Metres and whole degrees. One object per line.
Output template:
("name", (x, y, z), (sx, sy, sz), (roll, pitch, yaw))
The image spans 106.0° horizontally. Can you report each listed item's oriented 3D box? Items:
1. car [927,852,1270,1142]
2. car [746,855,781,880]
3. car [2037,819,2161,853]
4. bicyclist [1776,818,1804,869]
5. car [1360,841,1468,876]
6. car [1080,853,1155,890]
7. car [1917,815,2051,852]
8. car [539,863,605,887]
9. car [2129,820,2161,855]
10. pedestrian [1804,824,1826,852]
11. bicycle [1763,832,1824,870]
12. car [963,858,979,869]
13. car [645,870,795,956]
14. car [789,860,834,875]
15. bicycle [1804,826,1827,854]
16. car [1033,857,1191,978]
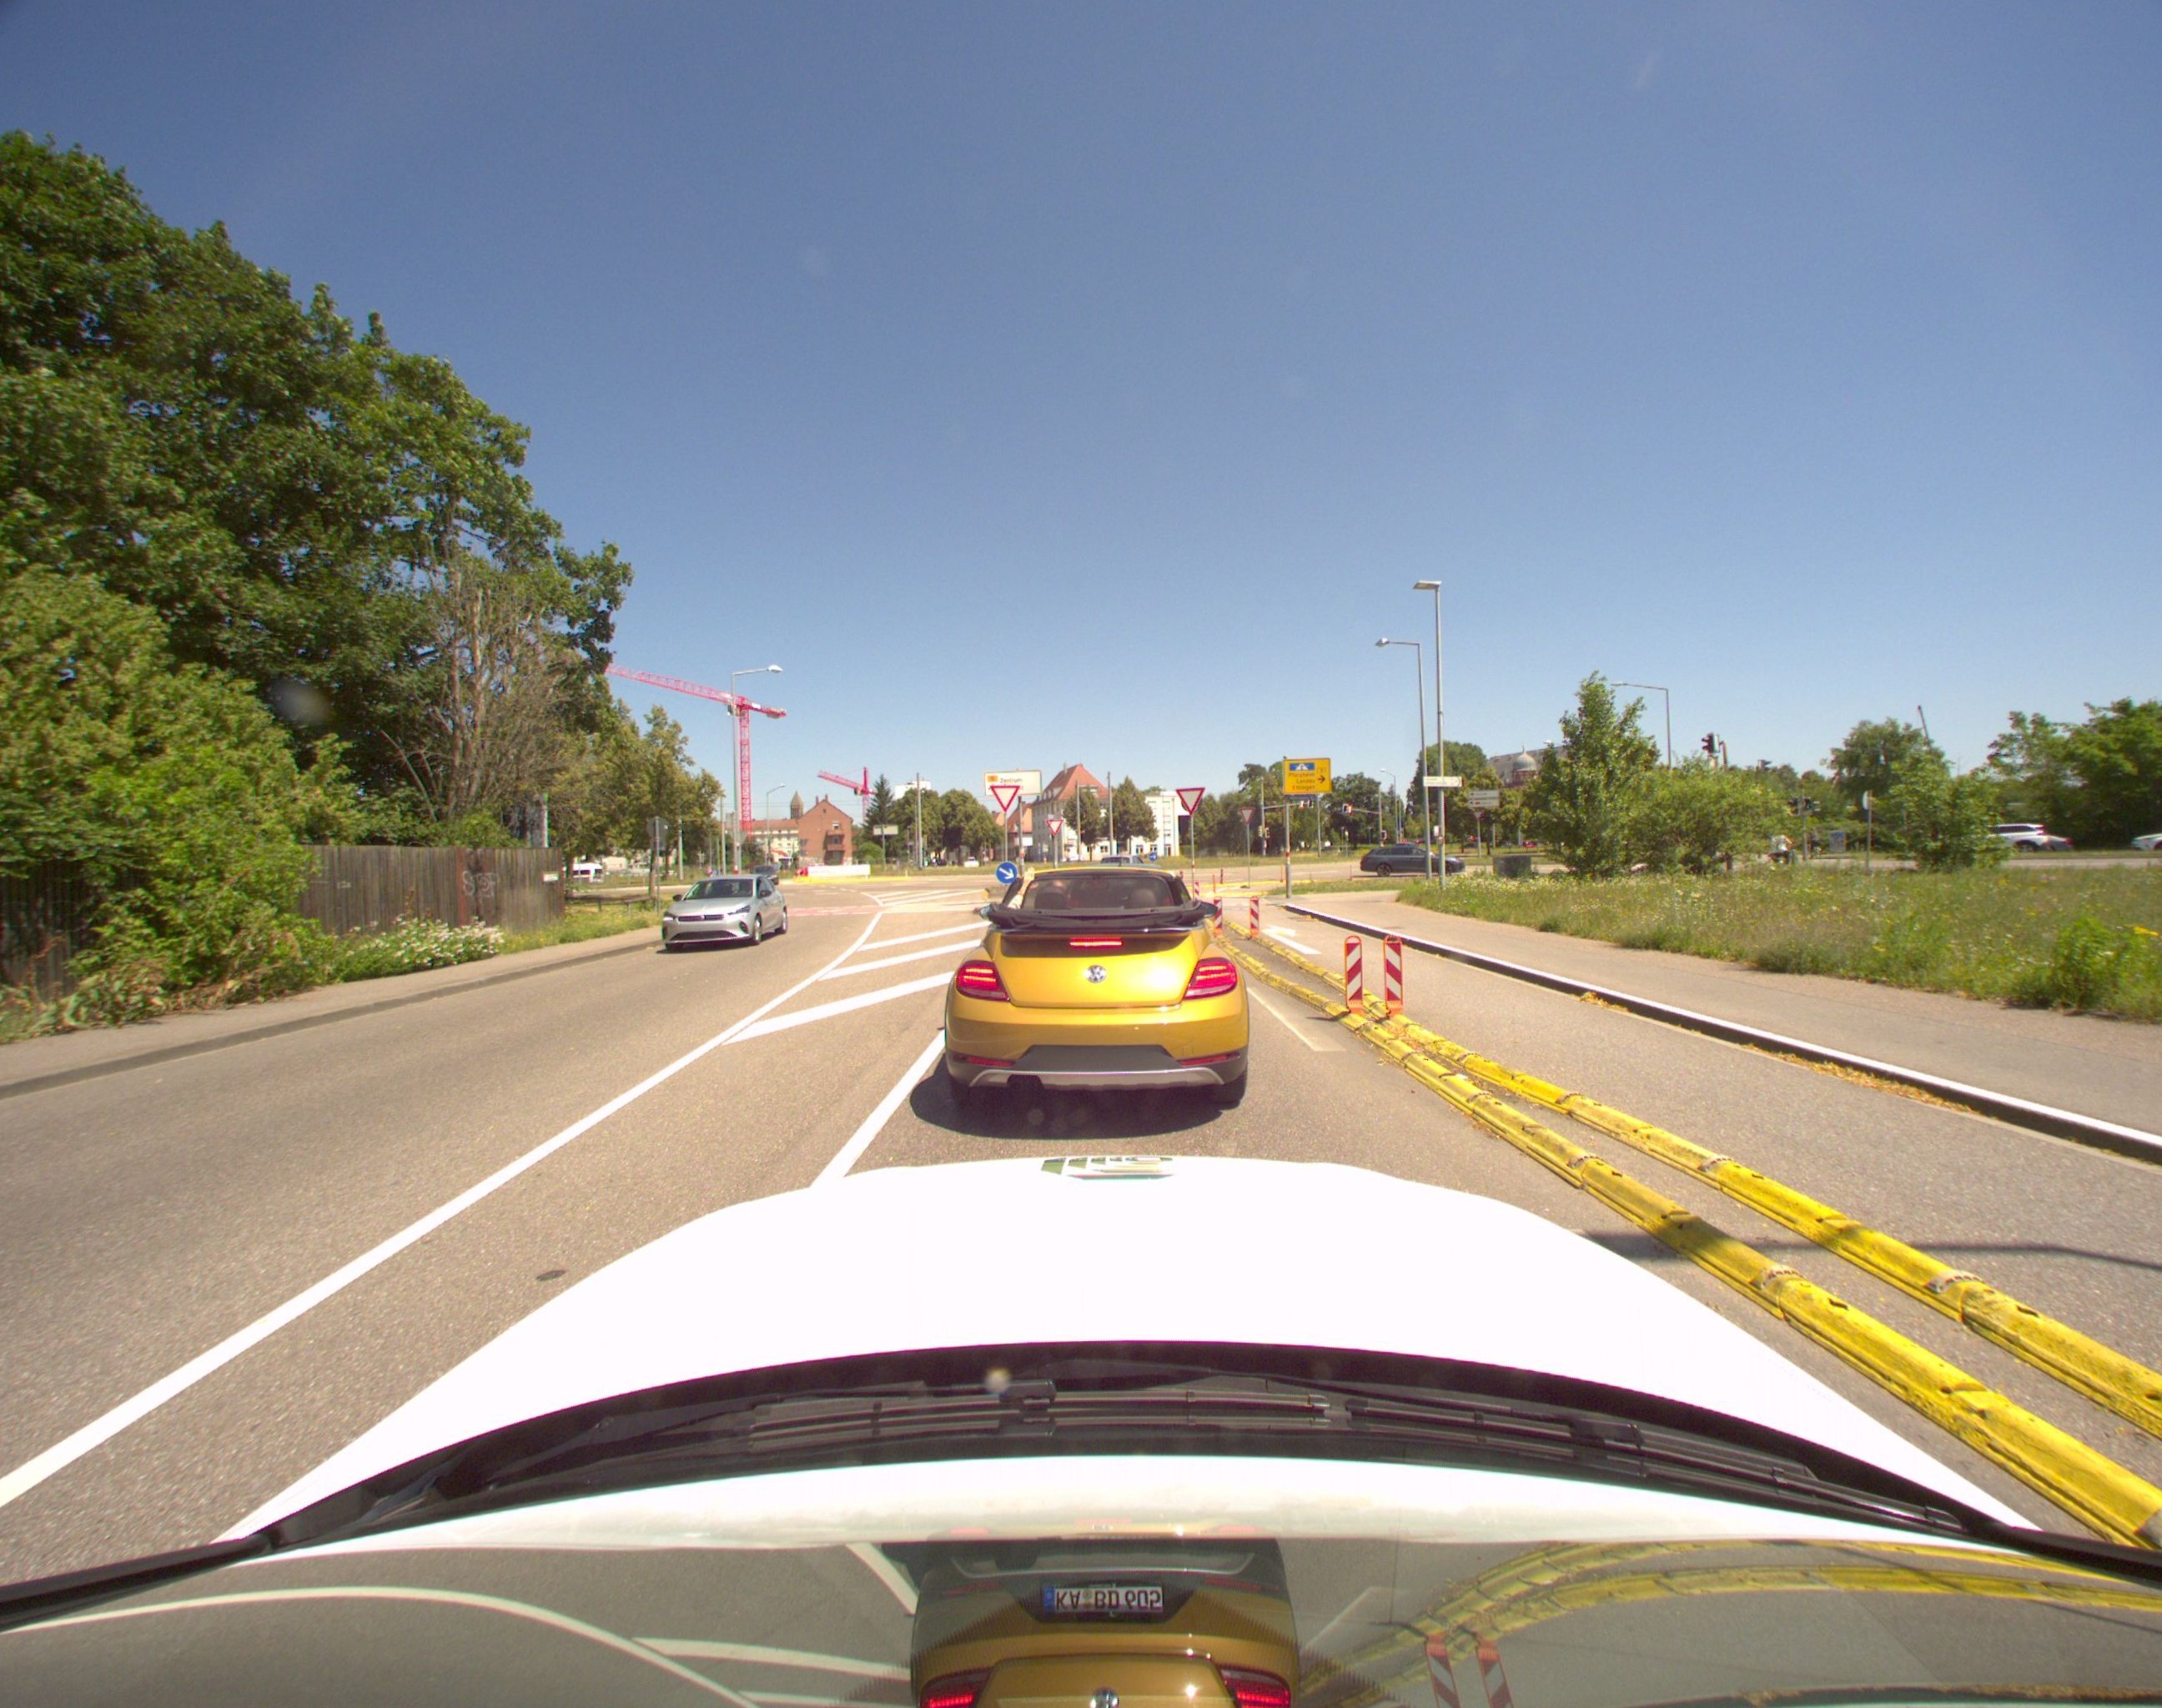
("car", (0.155, 0.756, 6.328), (1.758, 1.481, 4.259), (0, -1, 2))
("car", (-22.489, 0.926, 57.746), (1.752, 1.706, 3.981), (0, -1, -14))
("car", (51.332, -0.861, 40.702), (4.389, 1.592, 1.860), (-1, -1, 43))
("bicyclist", (25.891, -0.372, 29.747), (0.573, 1.841, 0.603), (0, -1, -29))
("car", (15.564, 0.198, 38.277), (4.492, 1.481, 2.081), (-2, 0, 17))
("car", (1.542, 0.678, 32.499), (2.049, 1.382, 4.275), (-1, -1, 15))
("car", (45.851, -1.004, 41.503), (4.389, 1.736, 1.860), (-1, -1, 43))
("car", (-51.419, 2.091, 82.316), (5.295, 2.397, 1.993), (0, -1, -1))
("car", (51.297, -0.769, 36.902), (4.389, 1.592, 1.860), (-1, -1, 43))
("pedestrian", (43.704, -0.926, 48.497), (0.959, 1.660, 0.892), (-1, -1, 44))
("bicycle", (25.886, -0.108, 29.578), (2.902, 1.353, 0.635), (0, -1, -28))
("car", (-21.484, 1.831, 158.536), (1.994, 2.070, 5.292), (0, -1, -20))
("car", (-7.443, 1.127, 17.271), (1.727, 1.402, 4.258), (-5, 0, -9))
("car", (-29.645, 1.458, 89.763), (1.877, 1.654, 4.373), (-1, -1, 42))
("bicycle", (43.741, -0.798, 48.480), (0.972, 1.597, 2.900), (-1, -1, 43))
("car", (0.437, 0.764, 11.836), (1.844, 1.366, 4.260), (-2, 0, 2))
